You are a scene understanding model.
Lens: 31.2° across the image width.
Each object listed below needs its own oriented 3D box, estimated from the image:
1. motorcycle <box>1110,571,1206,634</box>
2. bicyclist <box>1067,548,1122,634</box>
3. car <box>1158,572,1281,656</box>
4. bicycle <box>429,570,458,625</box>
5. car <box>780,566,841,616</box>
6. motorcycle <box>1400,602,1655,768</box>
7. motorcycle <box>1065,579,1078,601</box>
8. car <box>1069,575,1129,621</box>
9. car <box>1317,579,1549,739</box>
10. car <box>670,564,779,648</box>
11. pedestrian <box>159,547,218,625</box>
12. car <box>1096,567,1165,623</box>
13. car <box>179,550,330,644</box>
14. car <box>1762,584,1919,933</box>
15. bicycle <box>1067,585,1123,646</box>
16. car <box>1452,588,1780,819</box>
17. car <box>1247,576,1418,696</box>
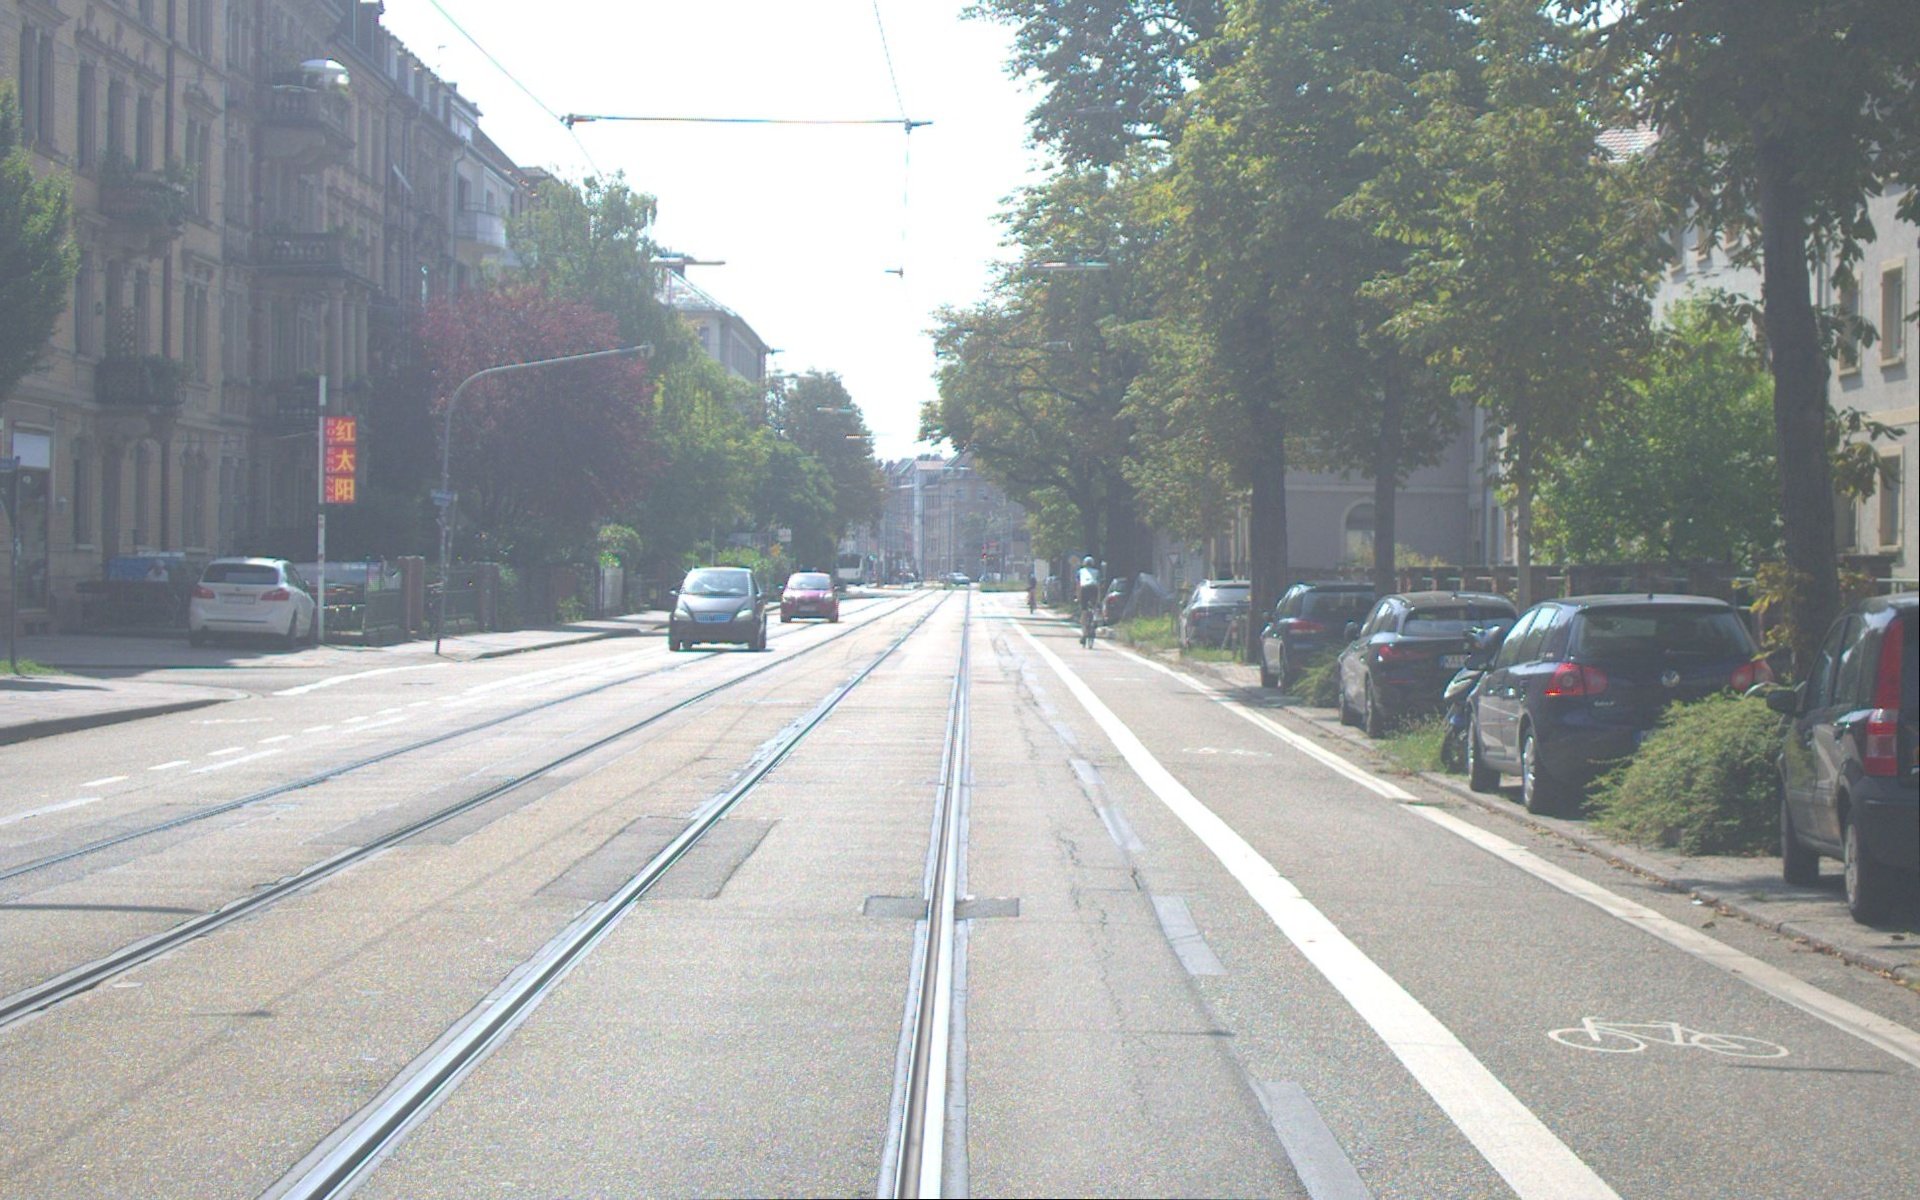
[{"bbox_3d":[5.037,0.073,87.551,2.344,1.535,0.966,-1,-2,42],"label":"motorcycle"},{"bbox_3d":[2.886,-0.192,73.669,1.125,1.830,0.956,1,0,1],"label":"bicyclist"},{"bbox_3d":[4.804,0.236,64.247,1.892,1.472,4.840,1,1,0],"label":"car"},{"bbox_3d":[-10.579,-0.054,70.446,0.390,1.095,1.569,1,1,-2],"label":"bicycle"},{"bbox_3d":[-4.584,-0.296,105.742,1.732,1.485,4.000,0,1,0],"label":"car"},{"bbox_3d":[4.804,0.711,29.184,2.003,1.363,0.782,1,1,-2],"label":"motorcycle"},{"bbox_3d":[5.594,-0.503,172.780,0.549,1.064,2.330,1,0,0],"label":"motorcycle"},{"bbox_3d":[4.776,-0.093,118.494,1.840,1.527,4.780,0,1,0],"label":"car"},{"bbox_3d":[4.823,0.559,35.571,1.755,1.472,4.457,-3,0,1],"label":"car"},{"bbox_3d":[-4.495,0.091,66.160,1.827,1.535,4.000,0,1,0],"label":"car"},{"bbox_3d":[-15.189,-0.274,67.663,0.883,1.506,0.870,1,1,-30],"label":"pedestrian"},{"bbox_3d":[5.093,-0.157,103.302,1.840,1.527,4.115,0,2,0],"label":"car"},{"bbox_3d":[-12.451,-0.079,60.918,1.993,1.589,4.360,1,1,-3],"label":"car"},{"bbox_3d":[4.969,0.695,16.918,1.617,1.525,3.498,0,1,7],"label":"car"},{"bbox_3d":[2.890,0.319,73.833,1.148,1.265,2.712,1,1,2],"label":"bicycle"},{"bbox_3d":[4.630,0.676,24.770,1.617,1.472,4.039,0,1,1],"label":"car"},{"bbox_3d":[4.937,0.440,46.062,1.755,1.472,4.387,1,1,0],"label":"car"}]
